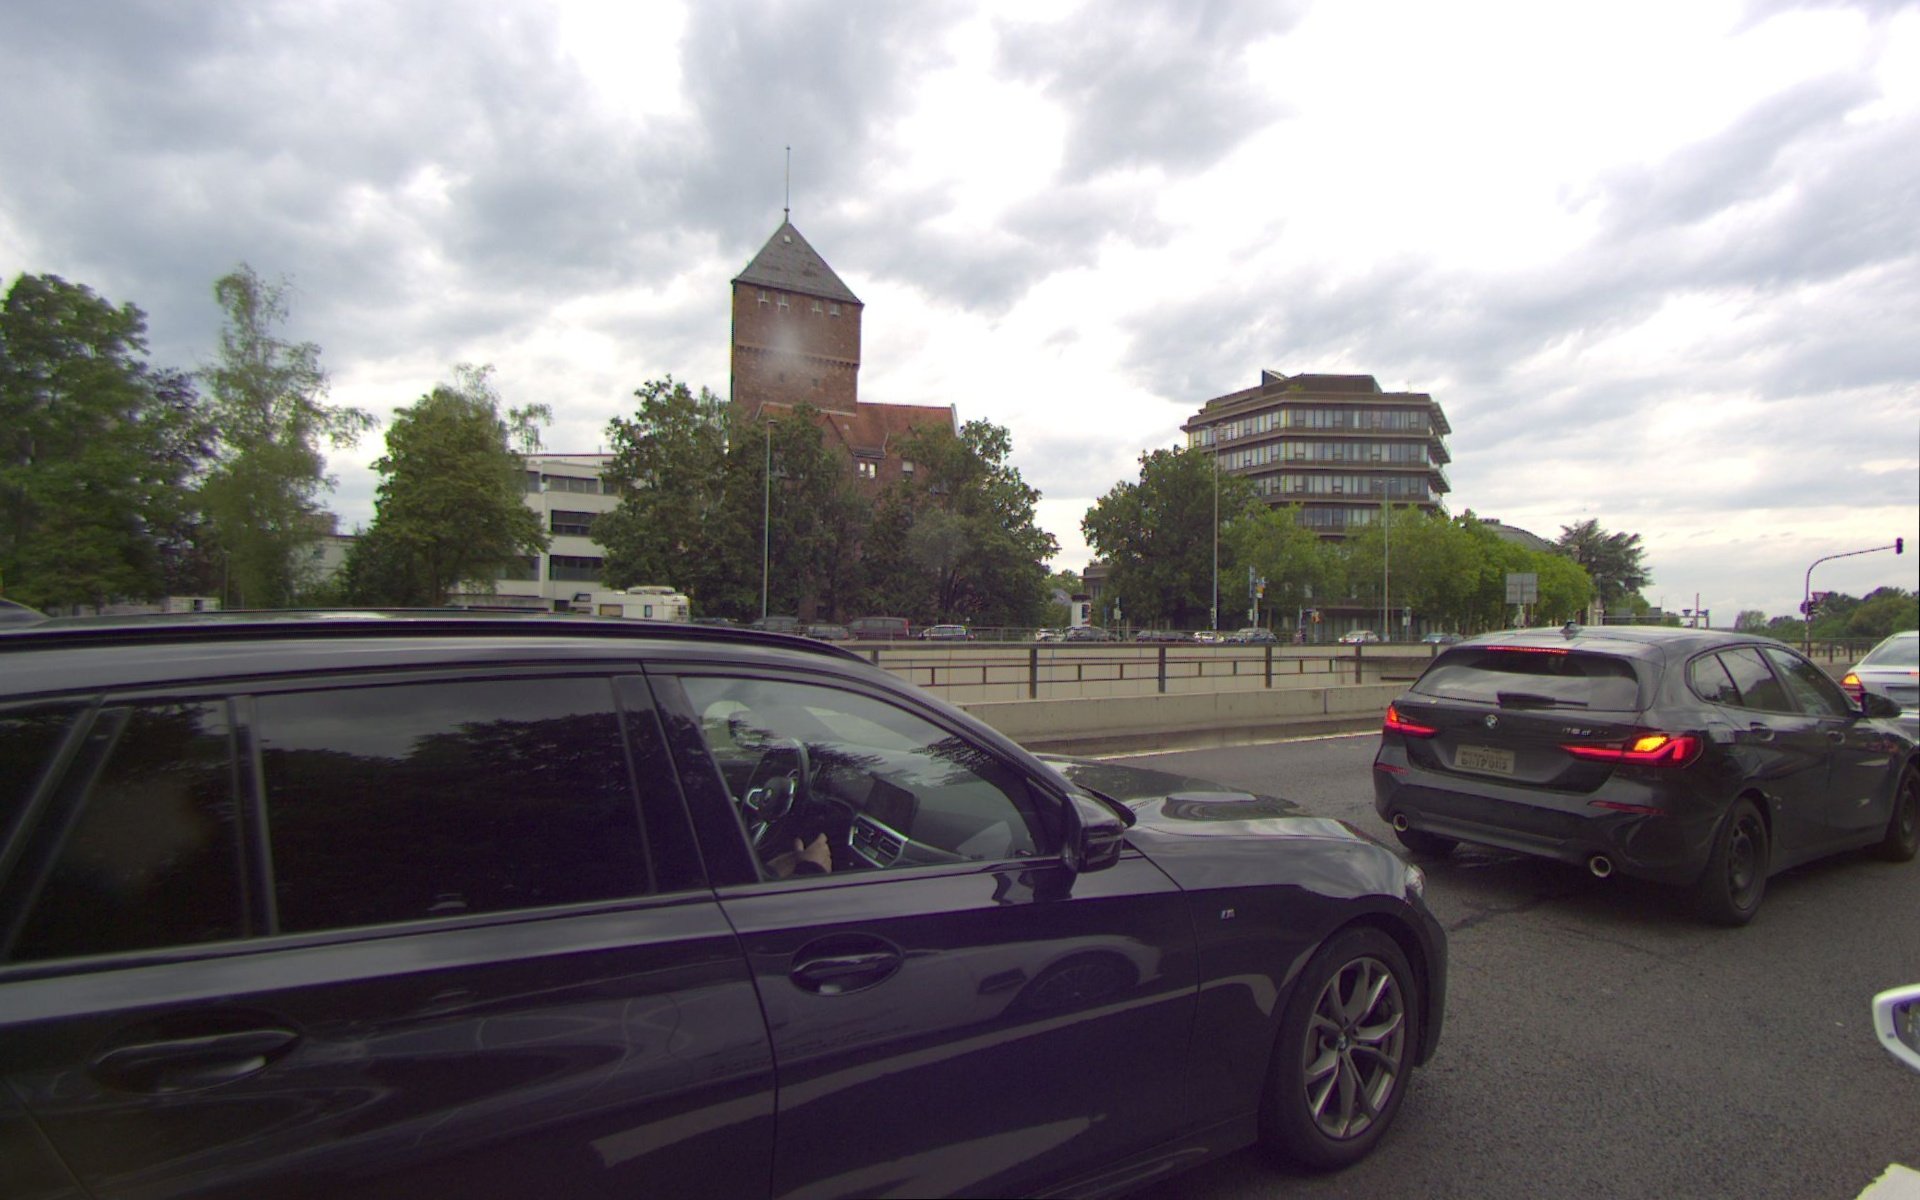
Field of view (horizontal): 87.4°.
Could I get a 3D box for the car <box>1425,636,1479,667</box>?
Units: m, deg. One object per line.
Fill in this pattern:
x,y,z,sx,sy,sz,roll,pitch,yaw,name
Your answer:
42.304,4.357,86.302,5.185,2.493,2.315,1,-1,-40,car

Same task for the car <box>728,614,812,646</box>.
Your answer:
-9.849,1.535,52.206,3.919,1.460,1.630,2,0,10,car

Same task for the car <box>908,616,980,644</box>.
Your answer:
-0.893,1.744,58.316,3.919,1.460,1.630,2,0,10,car

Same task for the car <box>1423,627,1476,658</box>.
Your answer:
42.203,3.633,86.529,5.186,2.493,2.315,1,-1,-41,car

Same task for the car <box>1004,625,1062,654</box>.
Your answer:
6.697,3.628,92.009,5.121,2.493,2.344,1,0,8,car

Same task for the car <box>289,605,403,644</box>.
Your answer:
-25.459,1.000,41.668,3.919,1.460,1.630,2,0,10,car

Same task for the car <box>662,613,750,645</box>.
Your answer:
-12.711,1.437,50.286,3.919,1.460,1.630,2,0,10,car

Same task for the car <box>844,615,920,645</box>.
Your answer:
-4.329,1.658,55.865,3.919,1.460,1.630,2,0,10,car

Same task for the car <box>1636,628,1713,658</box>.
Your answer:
53.666,3.186,75.548,1.964,2.040,4.803,1,-1,-9,car

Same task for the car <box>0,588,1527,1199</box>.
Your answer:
-0.535,0.727,2.579,4.416,1.445,1.737,1,-1,-35,car

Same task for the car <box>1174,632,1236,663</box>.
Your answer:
21.313,4.065,87.439,5.122,2.493,2.344,1,0,16,car

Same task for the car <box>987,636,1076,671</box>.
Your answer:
3.690,2.723,51.733,4.306,1.648,1.873,1,-1,-32,car

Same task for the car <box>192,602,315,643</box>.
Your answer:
-27.653,0.866,39.339,3.919,1.460,1.630,2,0,10,car

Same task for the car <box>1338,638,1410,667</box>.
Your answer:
30.300,3.770,73.484,5.170,1.975,2.322,1,-1,-33,car

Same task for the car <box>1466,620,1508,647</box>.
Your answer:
52.138,3.299,99.375,2.311,2.493,5.194,1,-1,44,car

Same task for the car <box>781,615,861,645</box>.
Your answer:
-7.448,1.619,54.132,3.919,1.460,1.630,2,0,10,car

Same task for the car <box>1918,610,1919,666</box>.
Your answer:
28.165,1.108,27.744,4.252,1.514,1.613,2,0,-34,car

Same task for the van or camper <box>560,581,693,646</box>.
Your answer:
-15.970,0.631,48.122,5.806,2.847,2.147,2,0,16,van or camper

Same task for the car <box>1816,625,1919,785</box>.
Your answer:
10.440,1.019,10.177,4.264,1.413,1.613,2,0,-34,car

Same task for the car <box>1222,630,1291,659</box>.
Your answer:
18.790,2.822,63.600,4.244,1.736,1.840,1,-1,-32,car

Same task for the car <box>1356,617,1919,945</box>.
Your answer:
4.387,0.870,6.229,3.958,1.413,1.614,2,0,-34,car
